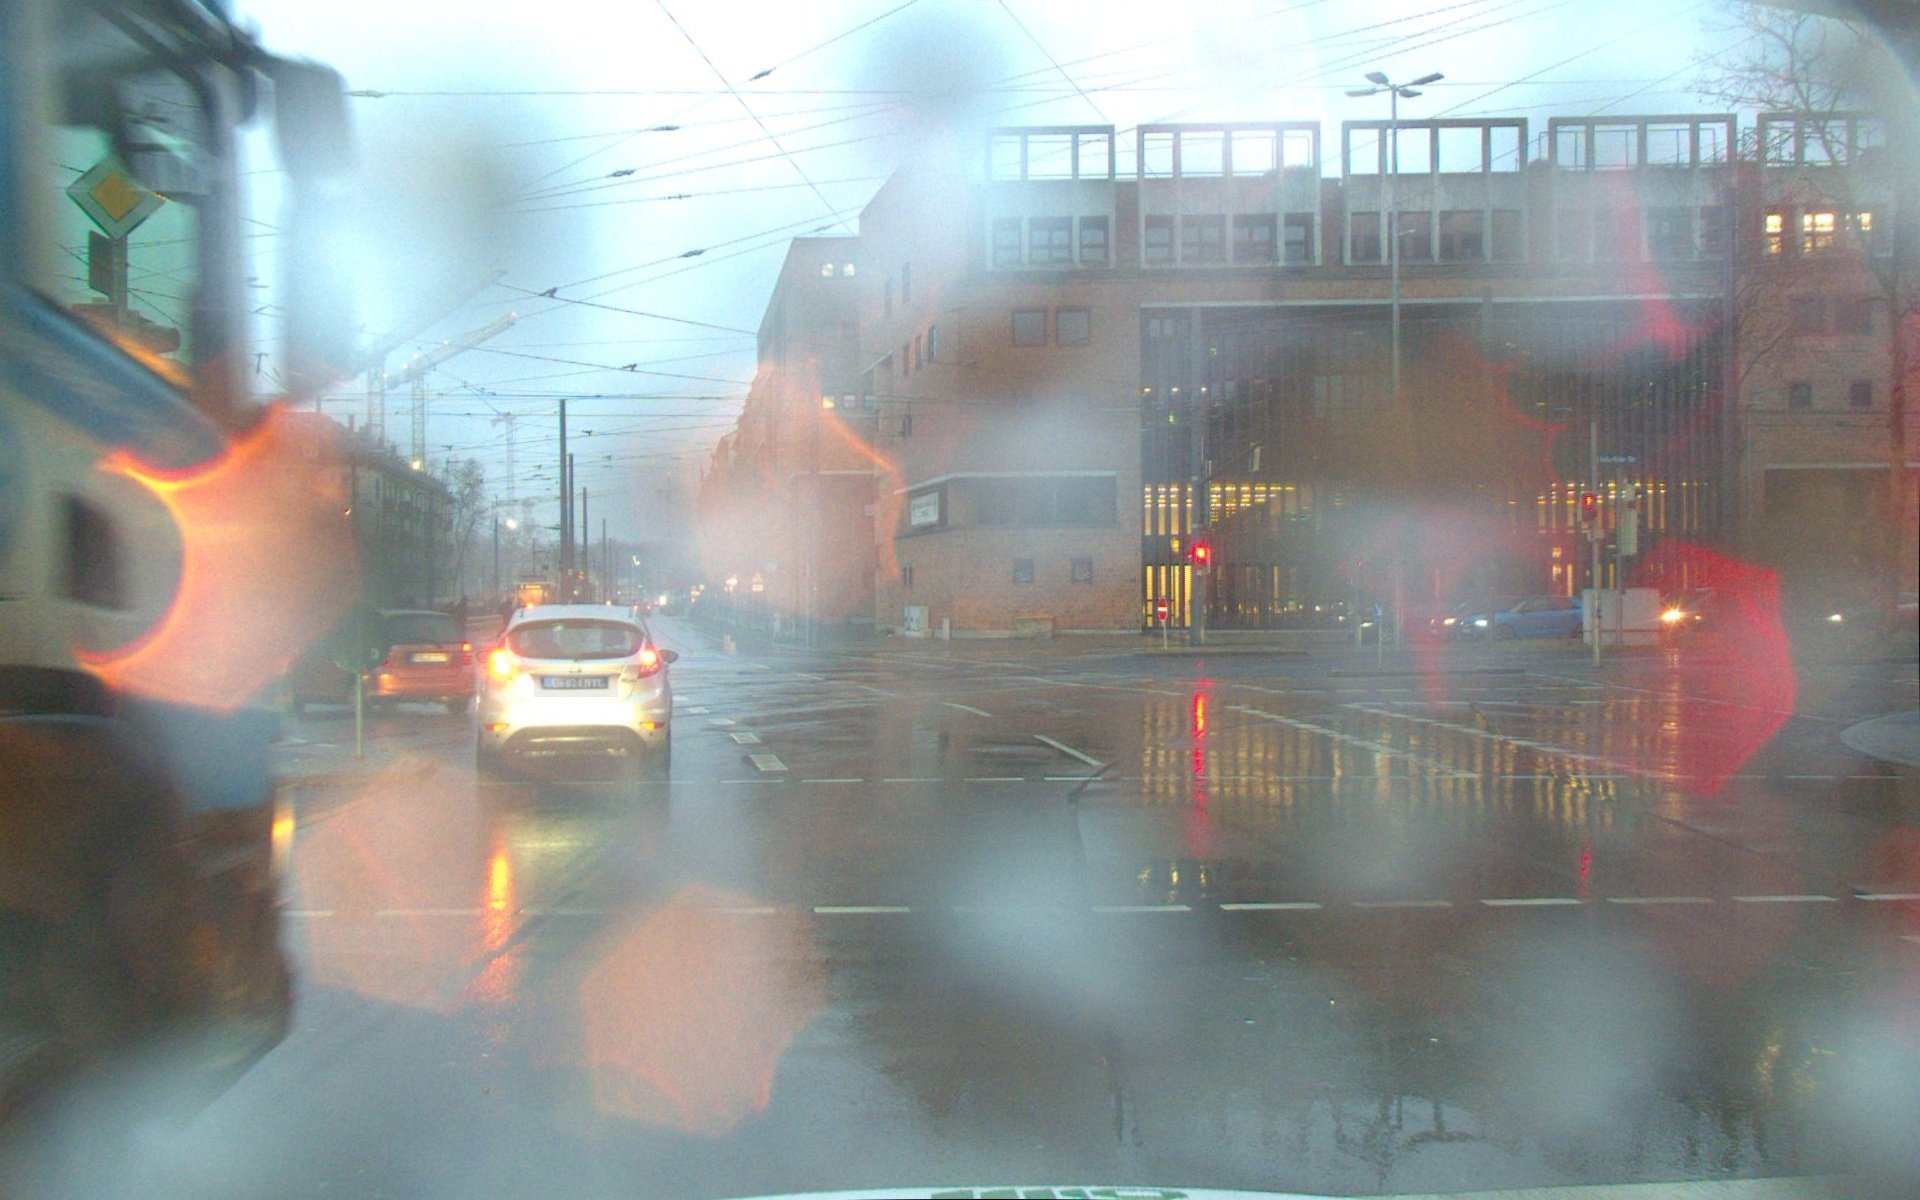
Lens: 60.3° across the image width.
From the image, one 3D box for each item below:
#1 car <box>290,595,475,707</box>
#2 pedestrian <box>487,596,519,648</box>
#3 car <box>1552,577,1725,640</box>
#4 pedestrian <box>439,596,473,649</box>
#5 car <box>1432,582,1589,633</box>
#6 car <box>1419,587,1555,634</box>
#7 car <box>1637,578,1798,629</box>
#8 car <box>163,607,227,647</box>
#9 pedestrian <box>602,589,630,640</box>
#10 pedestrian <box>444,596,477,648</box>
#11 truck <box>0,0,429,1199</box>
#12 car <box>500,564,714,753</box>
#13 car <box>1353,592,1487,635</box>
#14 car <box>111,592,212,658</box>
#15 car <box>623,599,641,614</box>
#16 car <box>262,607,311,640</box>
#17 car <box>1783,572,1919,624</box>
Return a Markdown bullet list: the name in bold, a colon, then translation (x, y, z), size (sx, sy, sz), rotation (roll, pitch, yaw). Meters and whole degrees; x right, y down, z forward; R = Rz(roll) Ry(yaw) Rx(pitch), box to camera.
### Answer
- **car**: translation (-8.498, 0.692, 24.161), size (1.683, 1.485, 3.713), rotation (-1, 0, -34)
- **pedestrian**: translation (-18.256, 0.886, 66.092), size (0.959, 2.049, 0.835), rotation (0, 0, 14)
- **car**: translation (18.225, 0.206, 44.515), size (3.910, 1.530, 1.846), rotation (-1, 4, -7)
- **pedestrian**: translation (-19.523, 0.858, 64.077), size (0.959, 2.049, 0.835), rotation (0, 0, 14)
- **car**: translation (15.973, 0.209, 48.061), size (3.910, 1.284, 1.846), rotation (-1, 4, -7)
- **car**: translation (16.599, 0.317, 52.156), size (3.649, 1.284, 1.846), rotation (-1, 4, -7)
- **car**: translation (22.344, 0.093, 48.864), size (3.910, 1.310, 1.846), rotation (-1, 4, -7)
- **car**: translation (-32.768, 1.115, 70.949), size (1.756, 1.652, 3.852), rotation (0, 0, -14)
- **pedestrian**: translation (-13.914, 0.578, 66.892), size (1.050, 2.049, 0.683), rotation (0, 0, -14)
- **pedestrian**: translation (-19.686, 0.863, 65.214), size (0.959, 2.049, 0.835), rotation (0, 0, 14)
- **truck**: translation (-2.643, -0.247, 0.395), size (2.782, 3.697, 7.524), rotation (-1, 0, -2)
- **car**: translation (-3.363, 0.599, 15.536), size (1.677, 1.473, 3.984), rotation (-2, -3, -14)
- **car**: translation (15.535, 0.450, 55.967), size (3.909, 1.333, 1.998), rotation (-1, 0, -5)
- **car**: translation (-20.998, 0.625, 43.414), size (2.023, 1.588, 4.784), rotation (-1, 0, -30)
- **car**: translation (-37.397, 0.747, 188.627), size (1.837, 1.606, 3.990), rotation (2, 0, -10)
- **car**: translation (-34.773, 1.200, 85.447), size (1.756, 1.652, 3.852), rotation (0, 0, -14)
- **car**: translation (29.329, -0.080, 54.136), size (3.910, 1.530, 1.846), rotation (-1, 4, -7)
